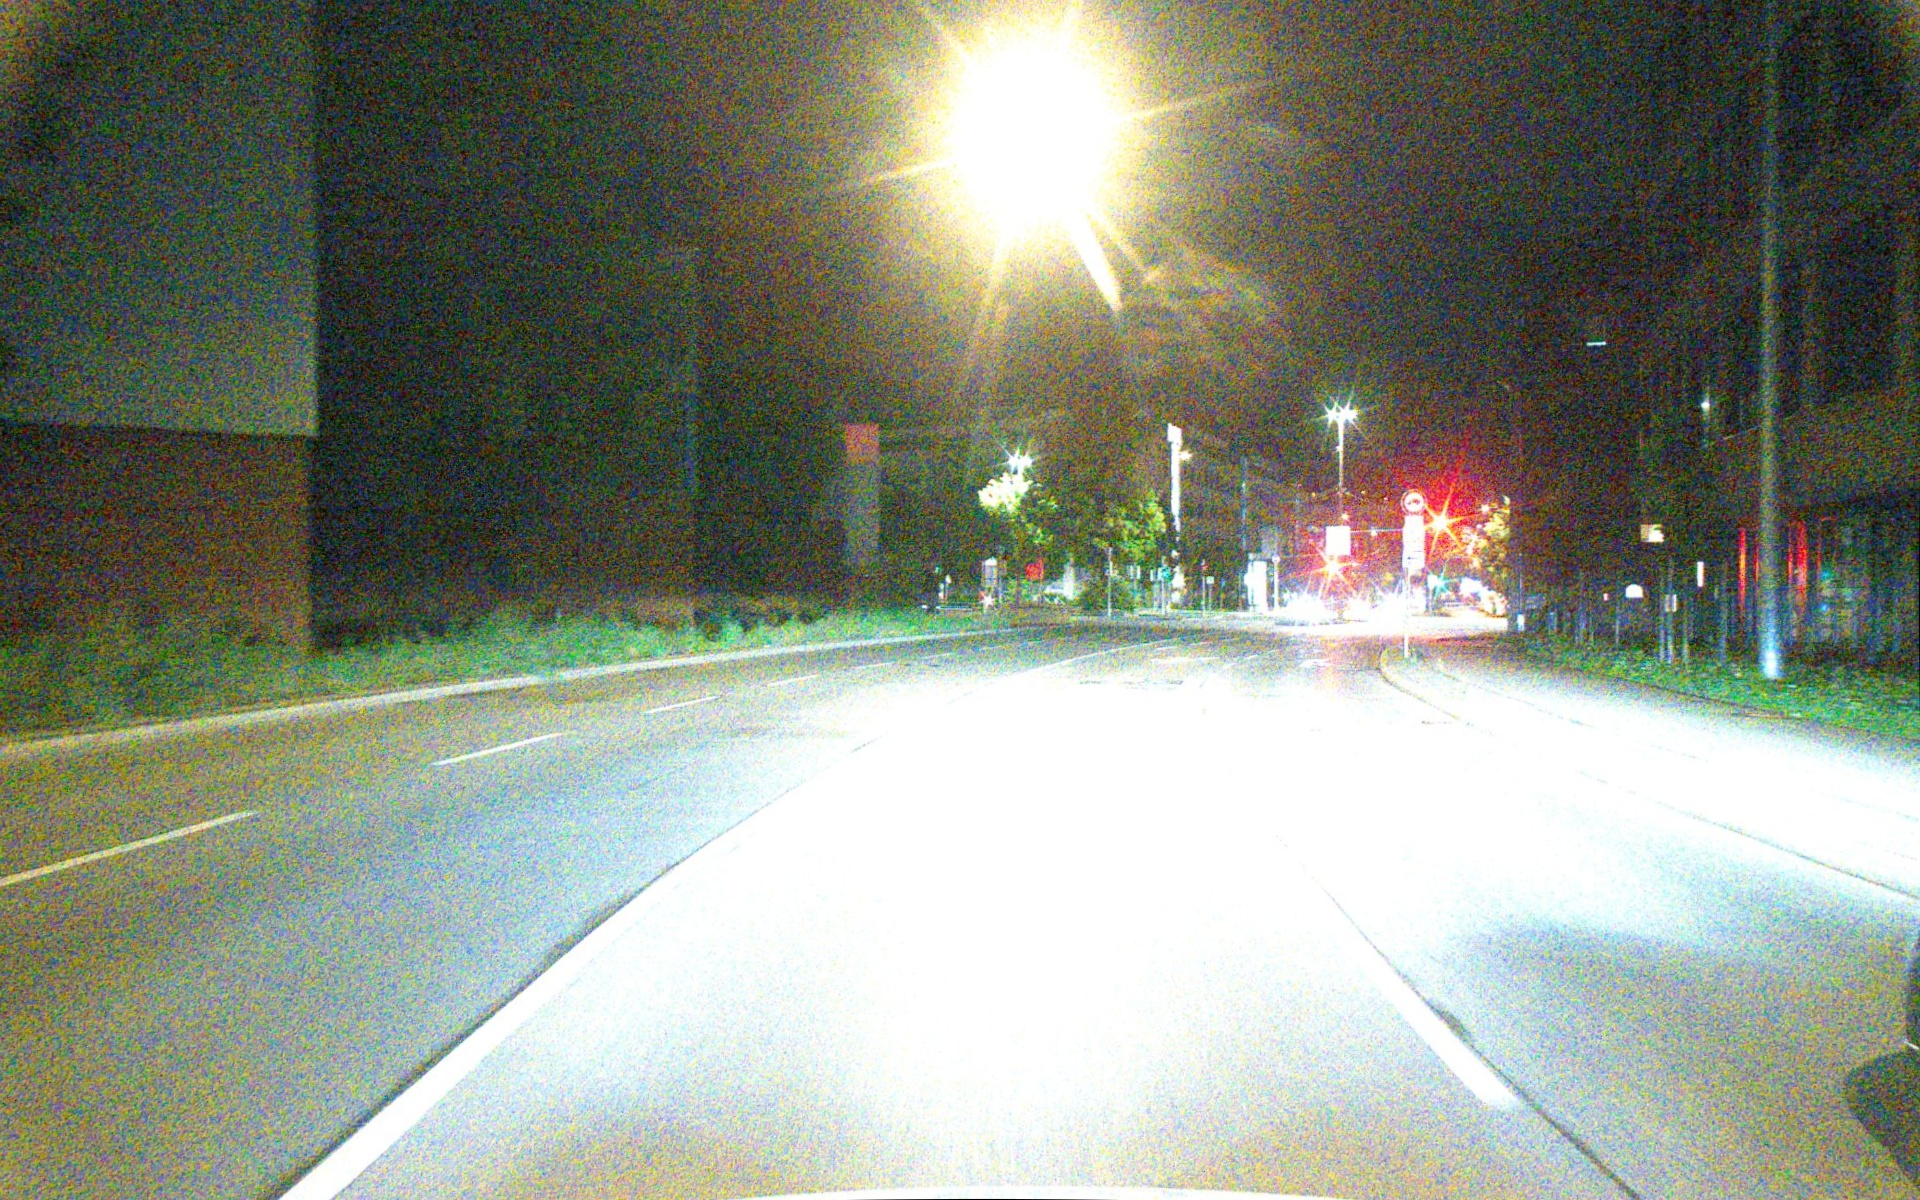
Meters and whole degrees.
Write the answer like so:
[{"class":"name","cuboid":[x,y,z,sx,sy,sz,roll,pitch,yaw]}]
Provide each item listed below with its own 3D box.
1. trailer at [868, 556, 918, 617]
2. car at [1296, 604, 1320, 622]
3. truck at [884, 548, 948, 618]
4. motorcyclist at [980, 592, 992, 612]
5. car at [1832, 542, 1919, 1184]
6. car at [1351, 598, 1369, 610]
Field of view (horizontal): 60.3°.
[{"class":"trailer","cuboid":[-4.430,-0.844,108.370,2.565,3.857,6.501,1,0,-9]},{"class":"car","cuboid":[31.332,1.194,148.681,1.582,1.541,4.001,1,0,19]},{"class":"truck","cuboid":[-2.712,-0.936,97.971,2.882,3.863,9.543,1,0,-7]},{"class":"motorcyclist","cuboid":[1.723,0.138,110.732,0.638,1.283,0.575,1,-1,-23]},{"class":"car","cuboid":[3.292,0.683,2.537,1.636,1.638,4.229,1,0,0]},{"class":"car","cuboid":[46.299,0.444,191.331,1.721,1.345,3.548,1,0,19]}]
